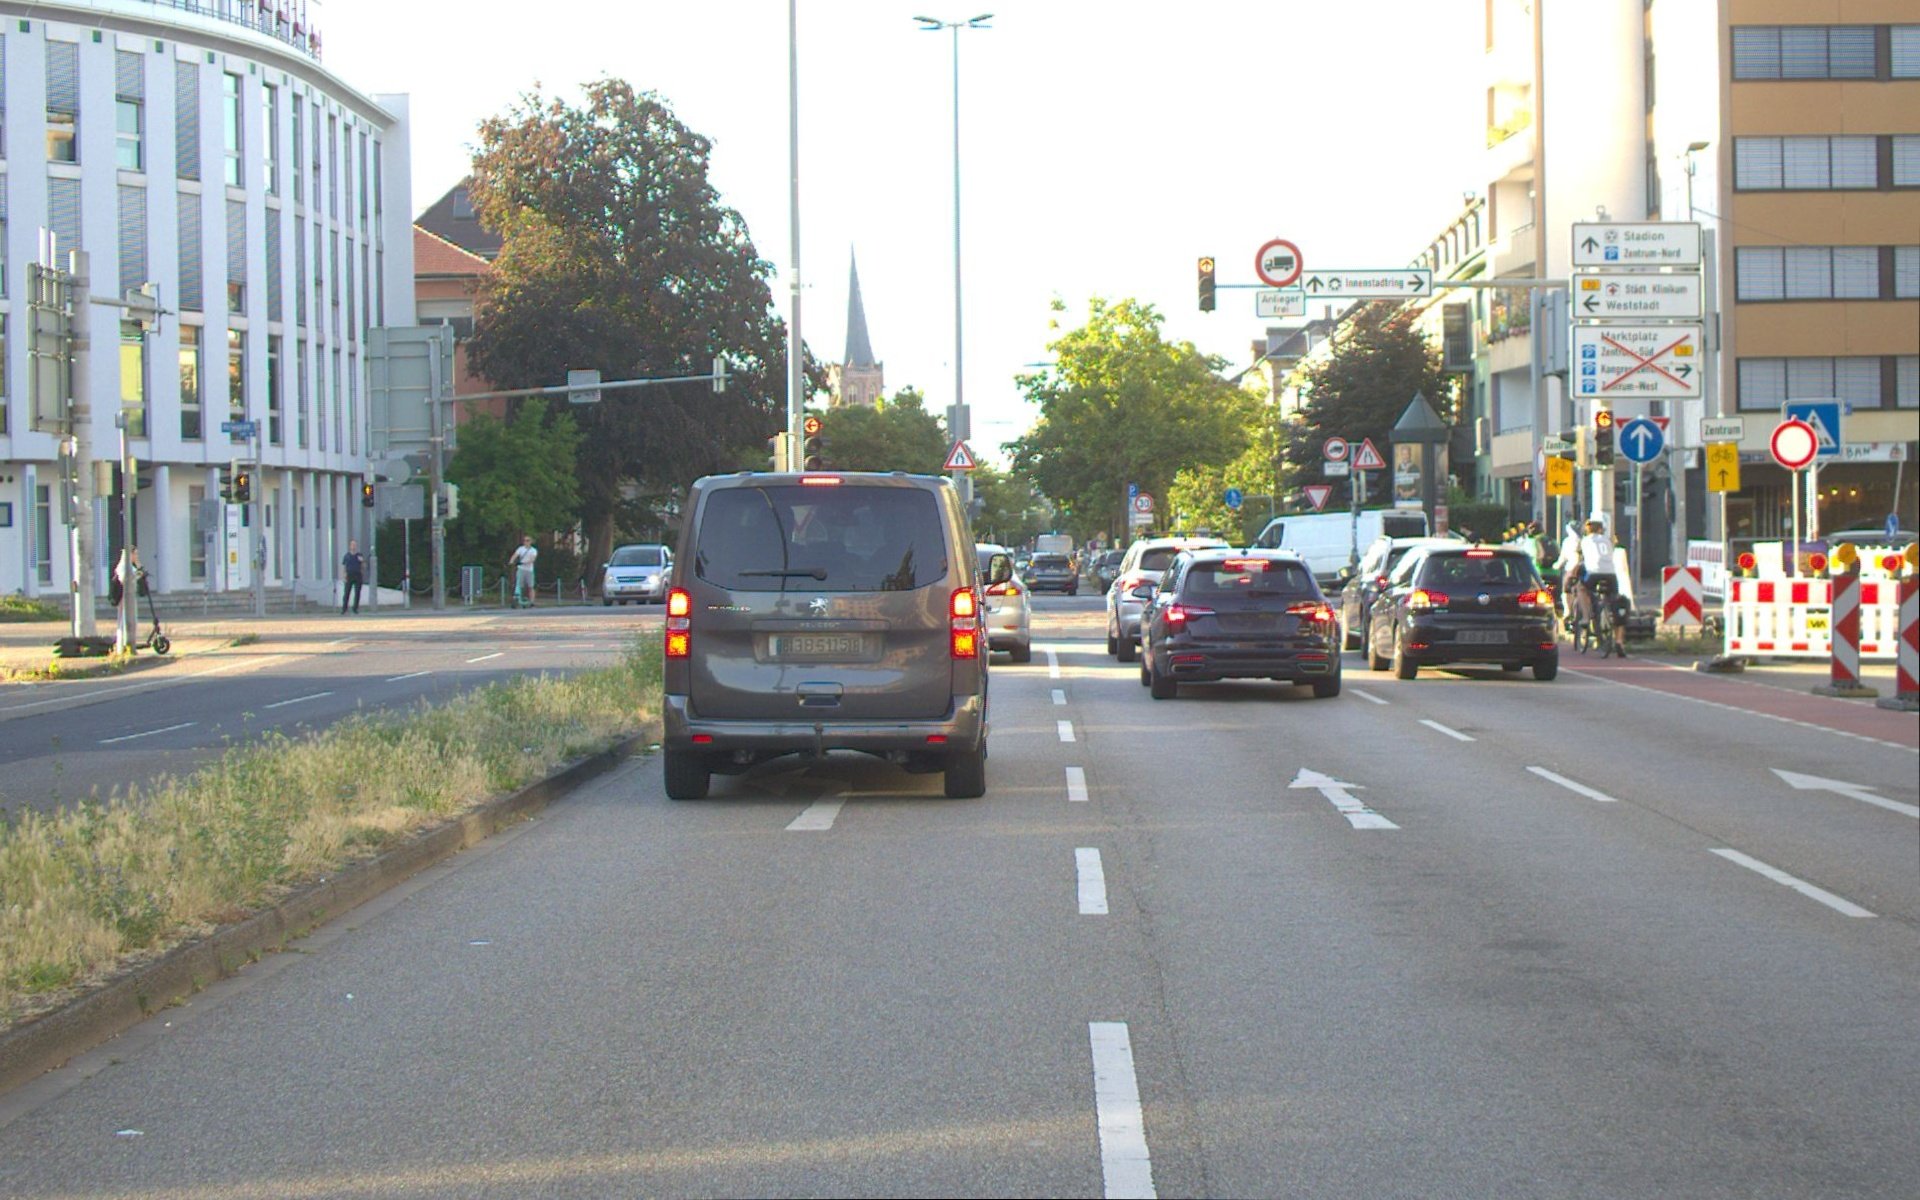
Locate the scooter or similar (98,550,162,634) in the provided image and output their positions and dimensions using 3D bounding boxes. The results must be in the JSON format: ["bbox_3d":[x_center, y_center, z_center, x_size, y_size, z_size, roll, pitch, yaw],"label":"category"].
[{"bbox_3d":[-12.436,-0.123,51.546,0.893,1.229,0.371,-1,1,-10],"label":"scooter or similar"}]

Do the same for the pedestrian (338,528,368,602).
[{"bbox_3d":[-14.181,-0.816,80.317,0.625,1.716,0.671,-1,1,-13],"label":"pedestrian"}]

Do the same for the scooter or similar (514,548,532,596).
[{"bbox_3d":[-11.099,-0.714,87.390,0.285,1.184,1.169,-1,1,1],"label":"scooter or similar"}]

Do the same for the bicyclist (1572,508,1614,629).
[{"bbox_3d":[8.047,-0.405,43.704,0.441,1.520,0.482,-1,1,1],"label":"bicyclist"}]

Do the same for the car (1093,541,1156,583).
[{"bbox_3d":[5.712,-1.331,119.671,1.904,1.368,4.000,-1,1,-1],"label":"car"}]

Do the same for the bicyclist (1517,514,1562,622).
[{"bbox_3d":[8.234,-0.460,48.878,0.513,1.520,0.725,-1,1,1],"label":"bicyclist"}]

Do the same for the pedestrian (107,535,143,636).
[{"bbox_3d":[-12.538,-0.219,51.625,0.474,1.500,0.335,-1,1,-11],"label":"pedestrian"}]

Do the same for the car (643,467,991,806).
[{"bbox_3d":[-0.774,0.155,21.320,1.907,1.857,4.527,1,1,1],"label":"car"}]

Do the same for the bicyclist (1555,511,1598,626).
[{"bbox_3d":[8.235,-0.428,45.941,0.441,1.520,0.725,-1,1,1],"label":"bicyclist"}]

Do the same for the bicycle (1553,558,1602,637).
[{"bbox_3d":[8.232,-0.042,45.866,0.336,1.004,1.856,-1,1,1],"label":"bicycle"}]

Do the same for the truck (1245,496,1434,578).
[{"bbox_3d":[9.996,-1.655,90.772,2.129,2.079,4.628,-2,2,-45],"label":"truck"}]

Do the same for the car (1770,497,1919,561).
[{"bbox_3d":[20.960,-1.646,79.411,3.986,1.415,1.788,-1,1,-5],"label":"car"}]

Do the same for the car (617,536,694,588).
[{"bbox_3d":[-8.583,-1.093,97.215,1.856,1.415,4.000,-1,1,-1],"label":"car"}]

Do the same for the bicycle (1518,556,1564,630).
[{"bbox_3d":[8.248,-0.107,48.837,0.336,1.004,1.856,-1,1,1],"label":"bicycle"}]

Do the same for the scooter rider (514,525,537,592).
[{"bbox_3d":[-11.065,-1.048,87.494,0.481,1.691,0.636,-1,1,1],"label":"scooter rider"}]

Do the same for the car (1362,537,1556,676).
[{"bbox_3d":[5.520,0.035,38.392,1.634,1.444,3.745,1,1,1],"label":"car"}]

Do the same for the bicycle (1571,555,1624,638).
[{"bbox_3d":[8.102,-0.054,43.730,0.336,1.004,1.856,-1,1,1],"label":"bicycle"}]

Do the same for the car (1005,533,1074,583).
[{"bbox_3d":[2.718,-1.450,118.426,1.993,1.656,4.001,-1,1,-4],"label":"car"}]

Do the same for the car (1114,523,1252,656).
[{"bbox_3d":[2.799,-0.168,43.707,1.529,1.608,3.745,1,1,1],"label":"car"}]

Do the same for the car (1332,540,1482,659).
[{"bbox_3d":[5.716,-0.034,44.235,1.505,1.444,3.305,-1,1,1],"label":"car"}]

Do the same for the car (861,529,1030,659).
[{"bbox_3d":[-0.152,-0.117,43.072,1.993,1.525,4.000,-1,1,1],"label":"car"}]

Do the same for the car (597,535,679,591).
[{"bbox_3d":[-8.537,-1.000,91.395,1.856,1.415,4.000,-1,1,-1],"label":"car"}]

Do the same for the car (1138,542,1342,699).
[{"bbox_3d":[2.686,0.152,33.785,1.681,1.416,4.214,1,1,1],"label":"car"}]
